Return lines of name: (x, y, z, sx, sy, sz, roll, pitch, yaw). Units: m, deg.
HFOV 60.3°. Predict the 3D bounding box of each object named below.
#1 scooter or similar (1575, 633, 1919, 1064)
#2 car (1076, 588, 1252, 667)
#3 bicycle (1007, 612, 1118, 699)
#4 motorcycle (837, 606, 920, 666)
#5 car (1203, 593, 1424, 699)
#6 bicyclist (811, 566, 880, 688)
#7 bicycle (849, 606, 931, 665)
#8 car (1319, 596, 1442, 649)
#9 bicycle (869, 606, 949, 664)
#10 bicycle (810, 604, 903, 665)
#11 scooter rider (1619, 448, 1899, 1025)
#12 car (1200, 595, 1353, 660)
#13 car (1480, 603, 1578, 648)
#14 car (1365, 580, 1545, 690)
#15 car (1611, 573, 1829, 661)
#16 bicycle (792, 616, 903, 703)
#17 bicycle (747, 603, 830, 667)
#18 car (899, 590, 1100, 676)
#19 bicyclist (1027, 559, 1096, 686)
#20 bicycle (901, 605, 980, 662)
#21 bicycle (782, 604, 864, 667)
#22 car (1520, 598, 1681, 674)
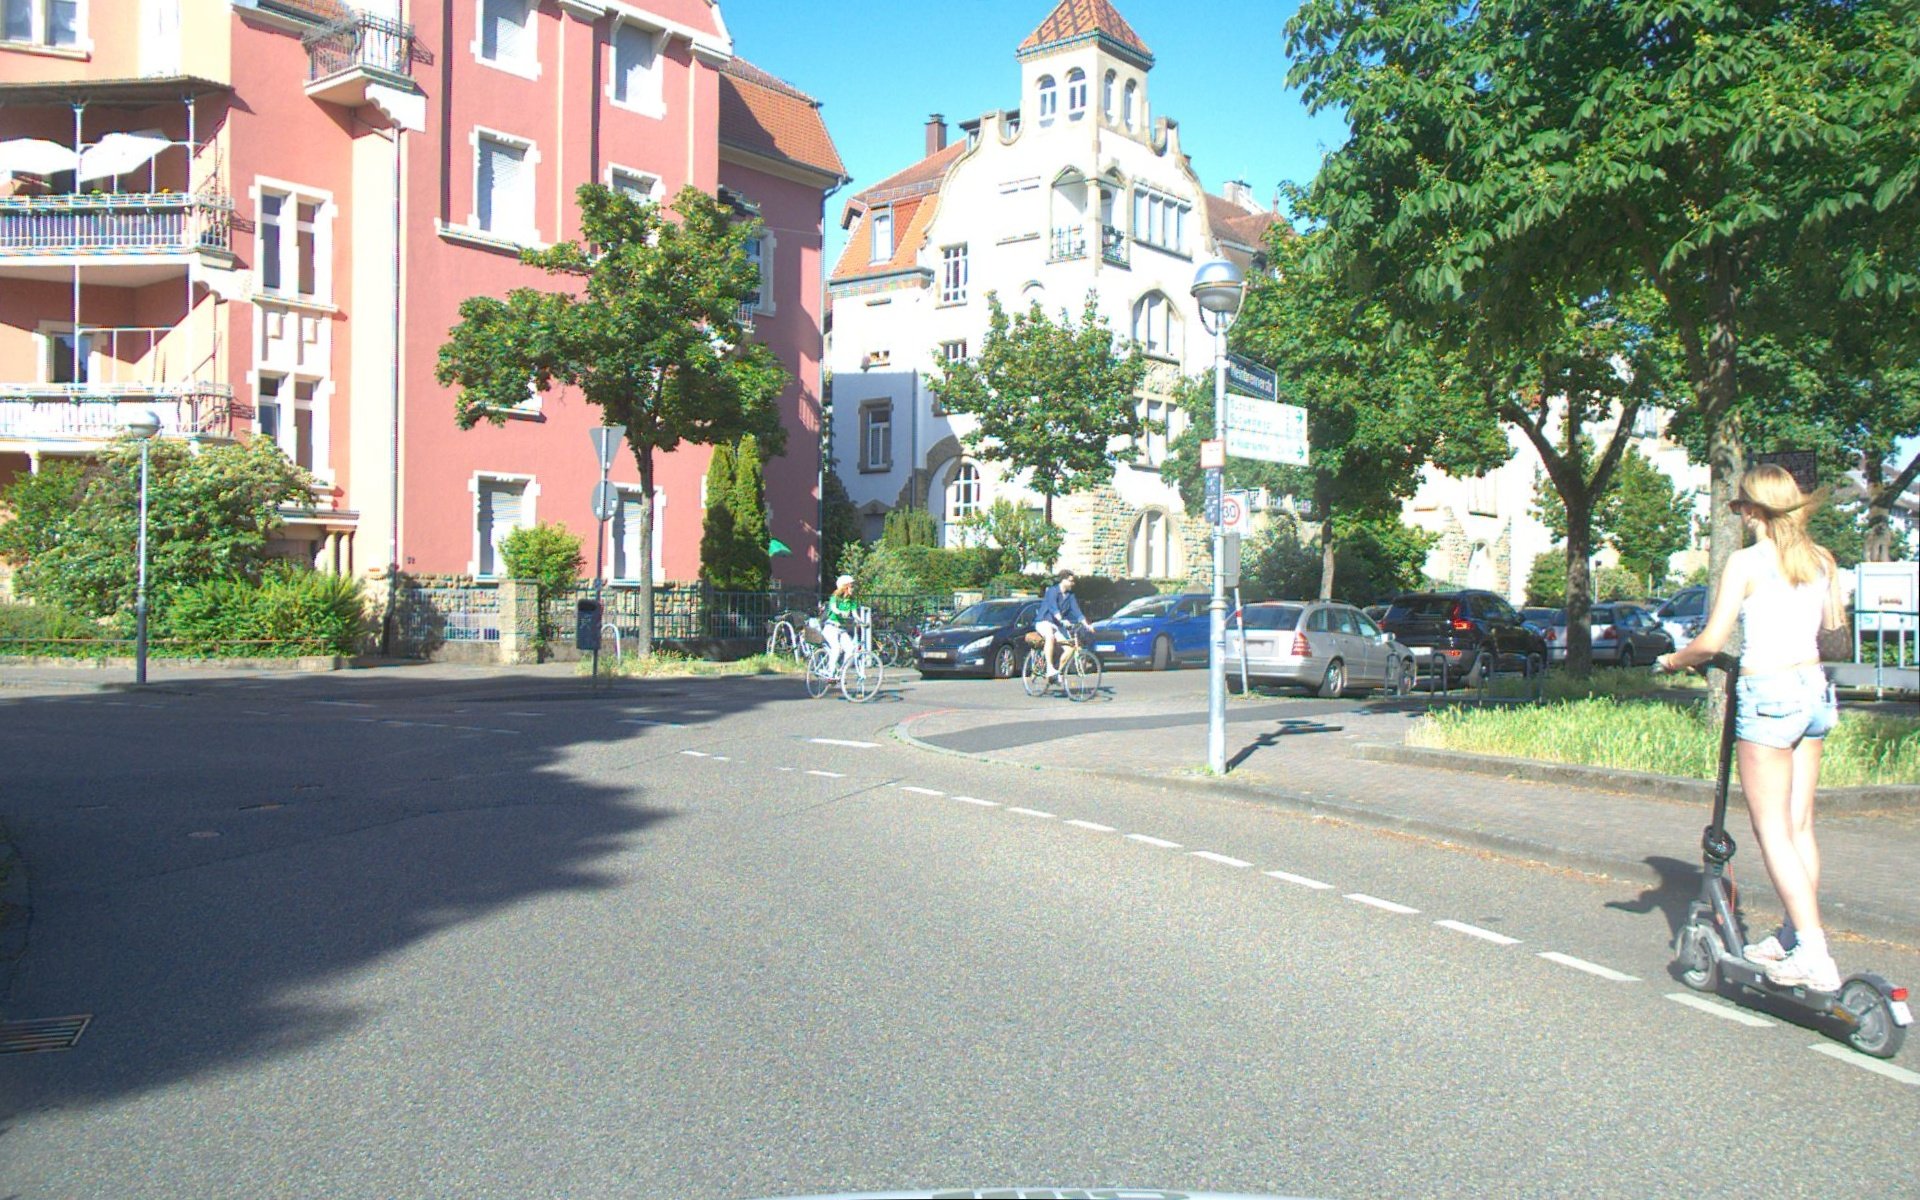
scooter or similar: (2.747, 0.779, 5.735, 0.620, 1.305, 1.101, 0, 0, -17)
car: (4.520, 0.588, 36.130, 1.775, 1.589, 4.378, -3, -2, 39)
bicycle: (1.420, 0.758, 23.234, 0.638, 1.127, 1.697, 1, 1, -34)
motorcycle: (-1.668, 0.715, 33.553, 1.691, 1.126, 0.499, 2, 1, 33)
car: (5.484, 0.642, 25.237, 1.773, 1.440, 4.324, 1, 0, 35)
bicyclist: (-1.552, 0.360, 22.411, 0.589, 1.609, 0.793, 0, -1, -37)
bicycle: (-1.445, 0.716, 34.044, 1.691, 1.126, 0.499, 2, 1, 33)
car: (12.213, 0.641, 47.912, 1.775, 1.421, 4.378, -3, -2, 39)
bicycle: (-1.073, 0.716, 34.527, 1.693, 1.126, 0.499, 3, 1, 37)
bicycle: (-2.069, 0.681, 33.003, 1.787, 1.126, 0.500, 2, 1, 24)
scooter rider: (2.753, 0.440, 5.735, 0.613, 1.864, 0.629, 0, 0, -17)
car: (7.748, 0.647, 40.201, 1.775, 1.476, 4.378, -3, -2, 39)
car: (19.547, 0.851, 56.707, 1.775, 1.421, 4.378, -3, -2, 39)
car: (8.740, 0.571, 28.966, 1.773, 1.758, 4.324, 1, 0, 35)
car: (18.946, 0.384, 41.302, 4.683, 2.036, 1.803, 1, 0, 36)
bicycle: (-1.539, 0.783, 22.375, 0.589, 1.127, 1.838, 0, -1, -37)
bicycle: (-3.296, 0.653, 31.668, 1.695, 1.134, 0.543, 3, 1, 40)
car: (0.832, 0.621, 31.729, 1.772, 1.509, 4.324, -3, -2, 34)
bicyclist: (1.425, 0.299, 23.231, 0.638, 1.744, 0.714, 1, 1, -35)
bicycle: (-0.425, 0.706, 35.254, 1.693, 1.126, 0.514, 3, 1, 37)
bicycle: (-2.683, 0.676, 32.372, 1.695, 1.134, 0.543, 3, 1, 40)
car: (13.774, 0.743, 35.436, 1.778, 1.499, 4.311, 1, 0, 42)
